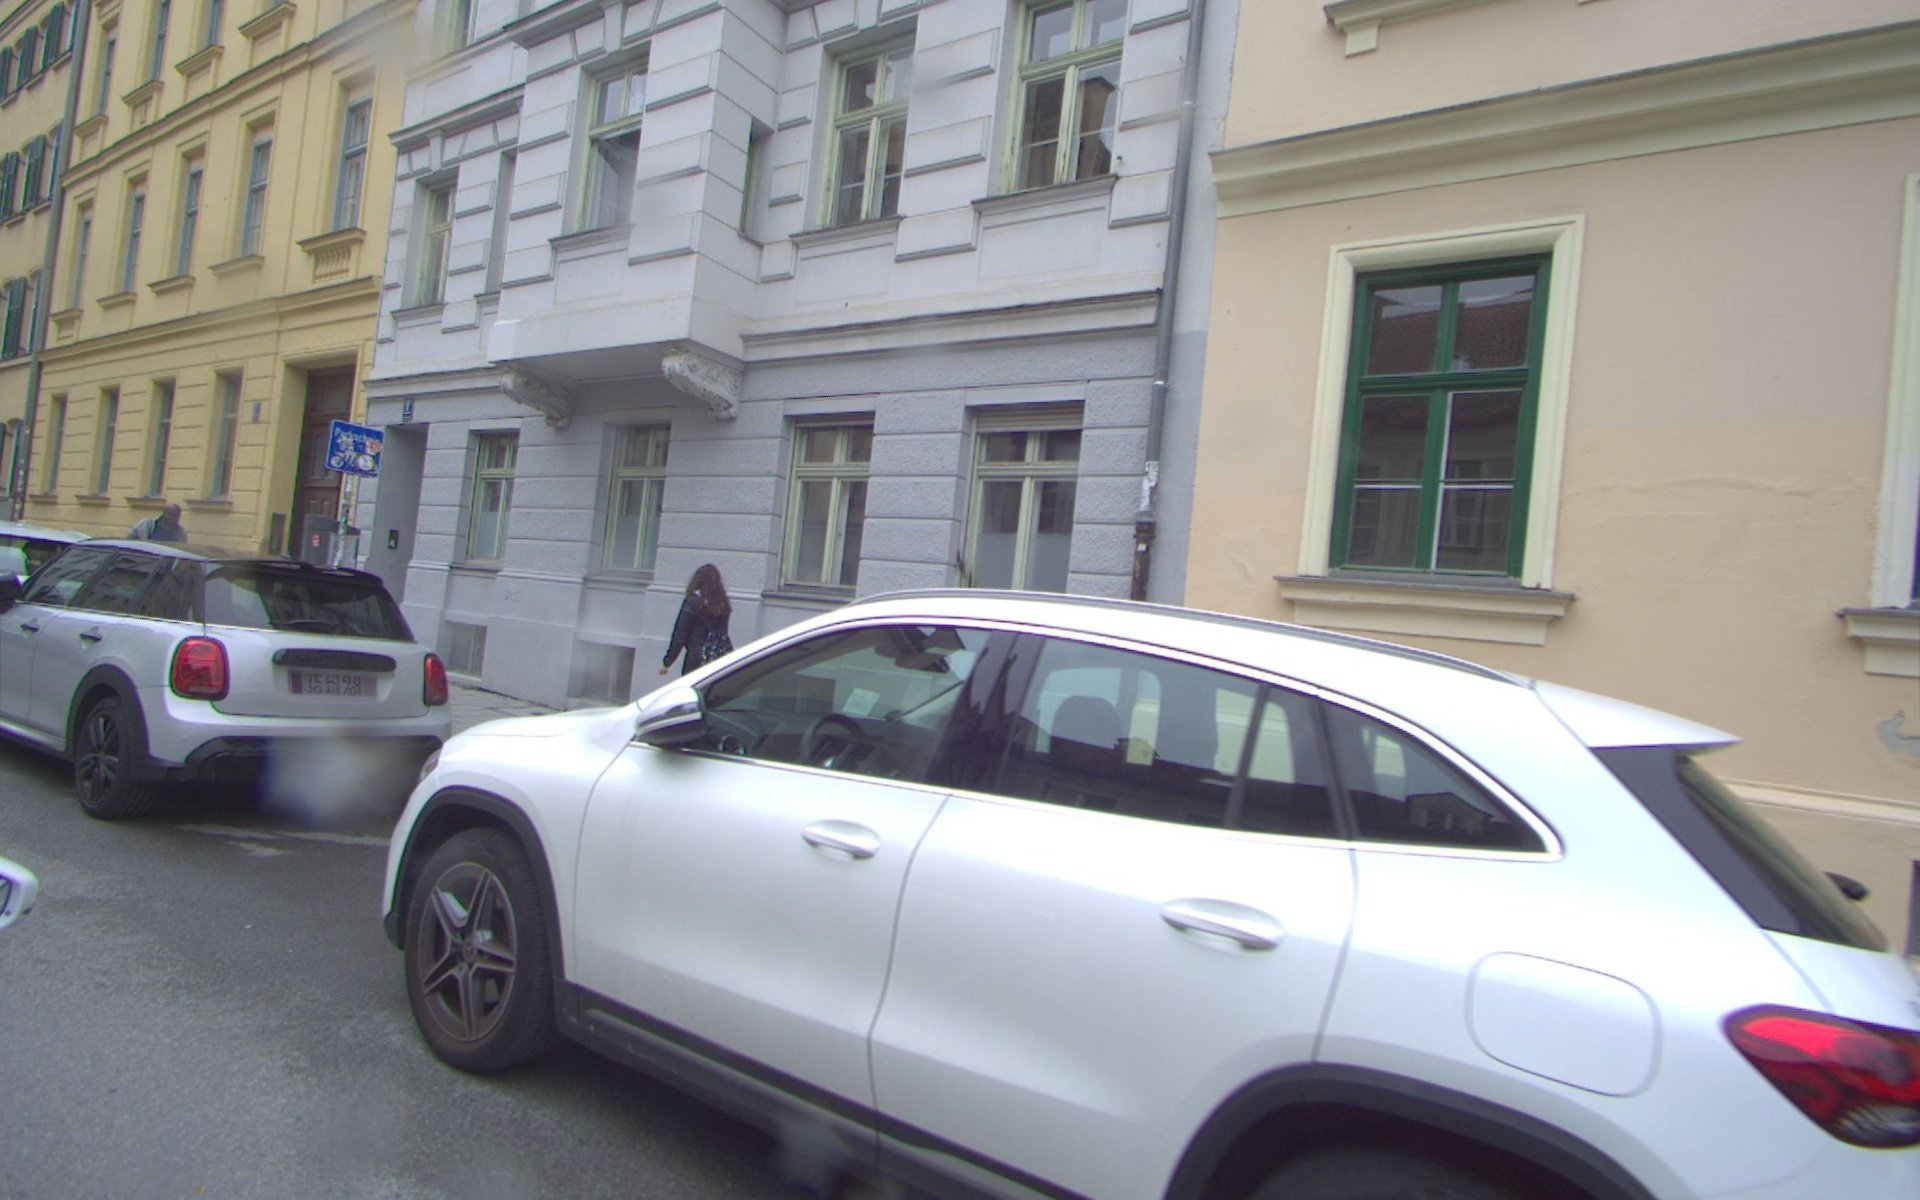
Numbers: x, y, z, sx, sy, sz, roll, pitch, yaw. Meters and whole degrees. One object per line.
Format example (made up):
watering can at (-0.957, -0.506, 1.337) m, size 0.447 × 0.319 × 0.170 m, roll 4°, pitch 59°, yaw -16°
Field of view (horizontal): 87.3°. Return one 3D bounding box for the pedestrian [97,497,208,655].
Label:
pedestrian at (-10.293, -0.295, 12.827) m, size 0.792 × 1.884 × 0.702 m, roll 6°, pitch -1°, yaw 32°

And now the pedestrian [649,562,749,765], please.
pedestrian at (-2.186, 0.516, 8.379) m, size 0.637 × 1.595 × 0.622 m, roll 5°, pitch 1°, yaw -20°

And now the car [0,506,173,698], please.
car at (-9.435, -0.139, 9.556) m, size 4.398 × 1.527 × 1.719 m, roll 6°, pitch -2°, yaw 34°

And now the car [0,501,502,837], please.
car at (-5.040, 0.285, 6.544) m, size 3.870 × 1.527 × 1.720 m, roll 6°, pitch -2°, yaw 30°

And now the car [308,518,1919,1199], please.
car at (0.050, 0.775, 3.084) m, size 4.253 × 1.620 × 1.719 m, roll 6°, pitch -2°, yaw 33°
